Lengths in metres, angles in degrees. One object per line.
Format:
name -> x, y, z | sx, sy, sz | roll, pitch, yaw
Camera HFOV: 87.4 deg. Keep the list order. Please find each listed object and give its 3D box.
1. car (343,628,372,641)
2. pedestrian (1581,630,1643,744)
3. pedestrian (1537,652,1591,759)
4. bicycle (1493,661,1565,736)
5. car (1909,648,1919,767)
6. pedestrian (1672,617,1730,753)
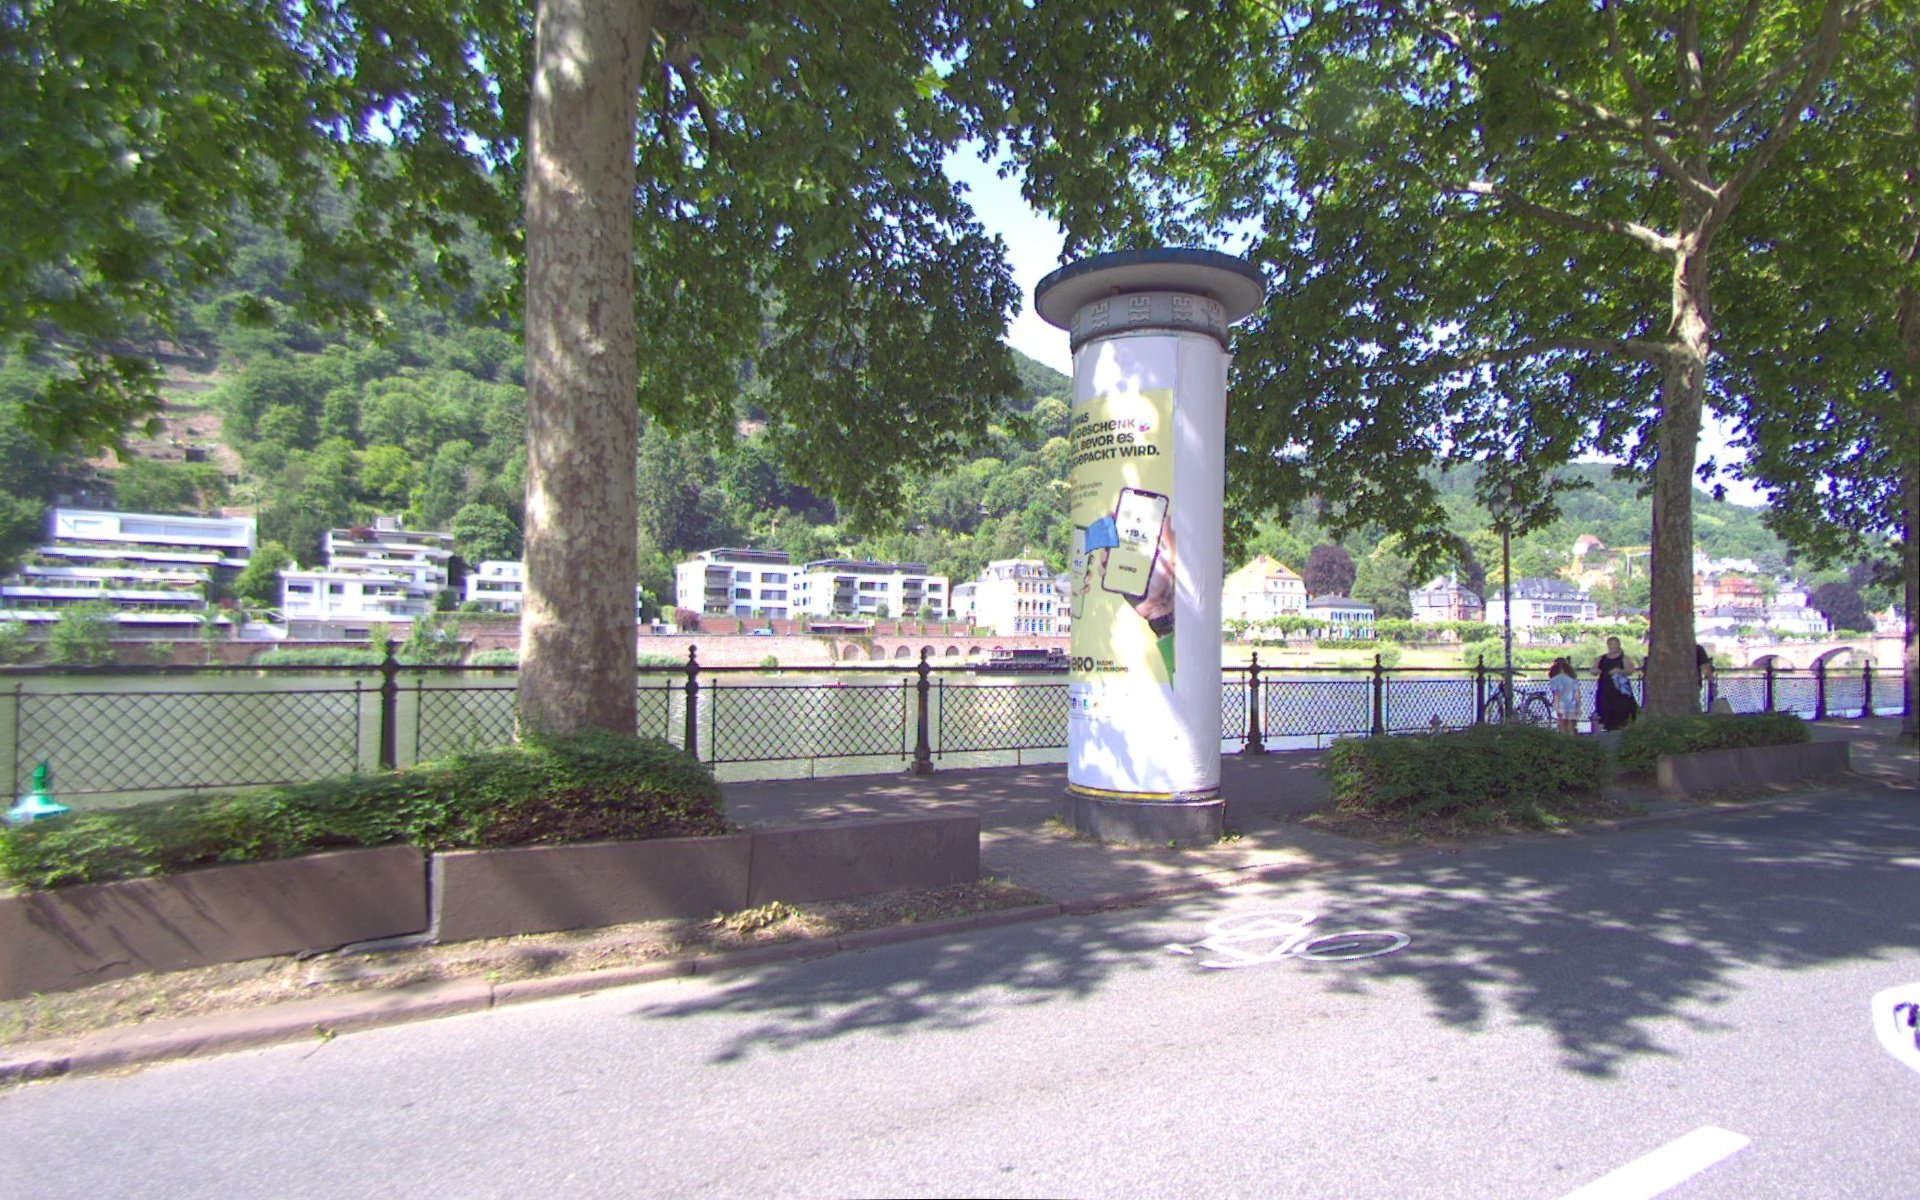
car -> -100.285, 5.727, 167.211 | 3.953, 2.040, 1.984 | 2, -1, -30
pedestrian -> 10.073, 1.326, 15.531 | 0.577, 1.707, 0.598 | 2, -3, -31
pedestrian -> 8.095, 1.399, 13.462 | 0.412, 1.380, 0.477 | 2, -1, -26
bicycle -> 8.914, 1.526, 15.728 | 1.281, 1.106, 0.357 | 2, 1, -31
car -> 12.512, 1.300, 11.148 | 4.044, 1.592, 1.731 | 2, -6, -30
pedestrian -> 10.683, 1.208, 14.482 | 0.431, 1.912, 0.532 | 2, -1, -30
